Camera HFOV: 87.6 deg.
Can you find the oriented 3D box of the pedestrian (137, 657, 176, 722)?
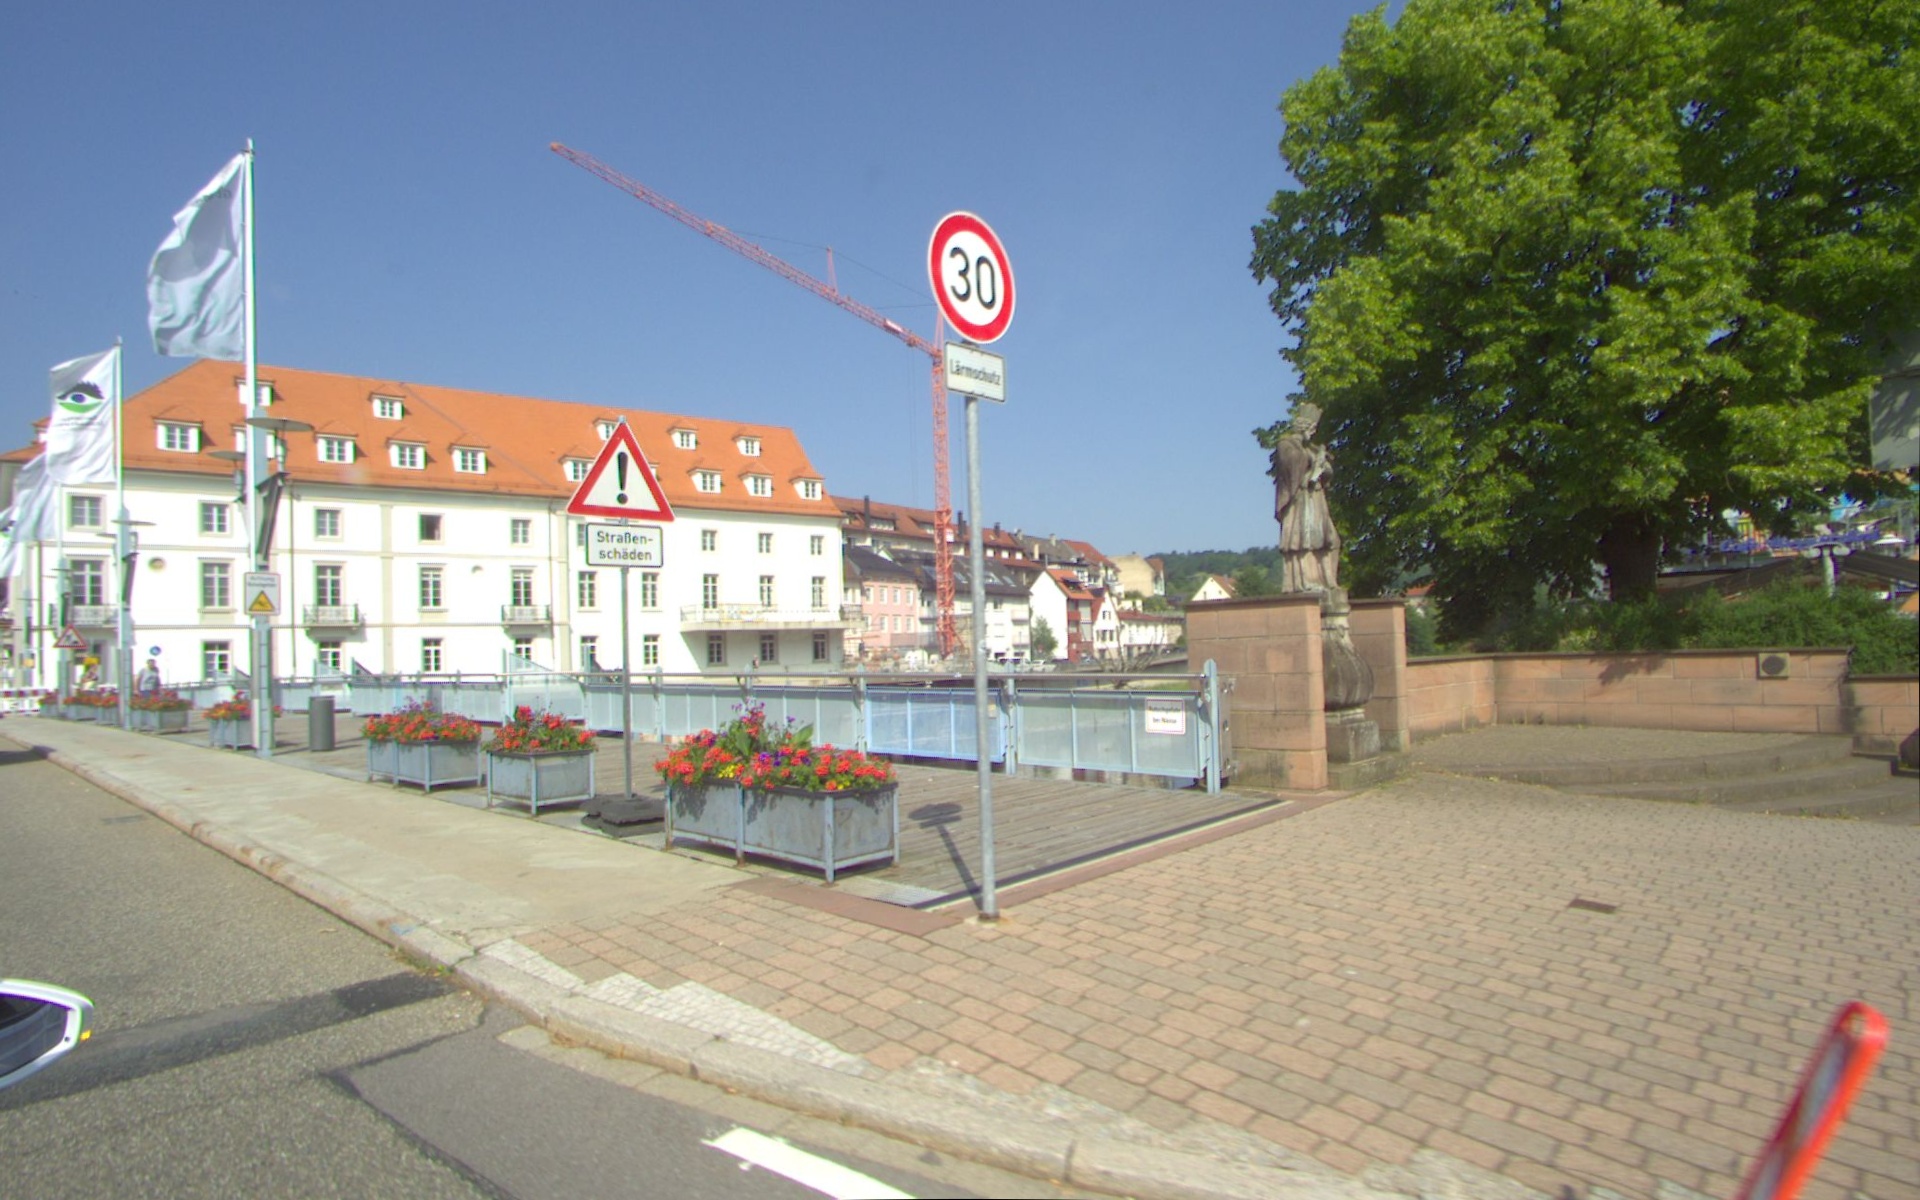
[{"bbox_3d":[-20.748,2.301,25.861,0.557,1.638,0.663,-3,-3,39],"label":"pedestrian"}]

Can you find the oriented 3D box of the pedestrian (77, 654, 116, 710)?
[{"bbox_3d":[-27.463,2.590,31.849,0.736,1.744,0.726,0,-3,-25],"label":"pedestrian"}]

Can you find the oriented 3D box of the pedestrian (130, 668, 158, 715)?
[{"bbox_3d":[-22.245,2.488,27.295,0.619,1.259,0.450,-4,-3,38],"label":"pedestrian"}]
